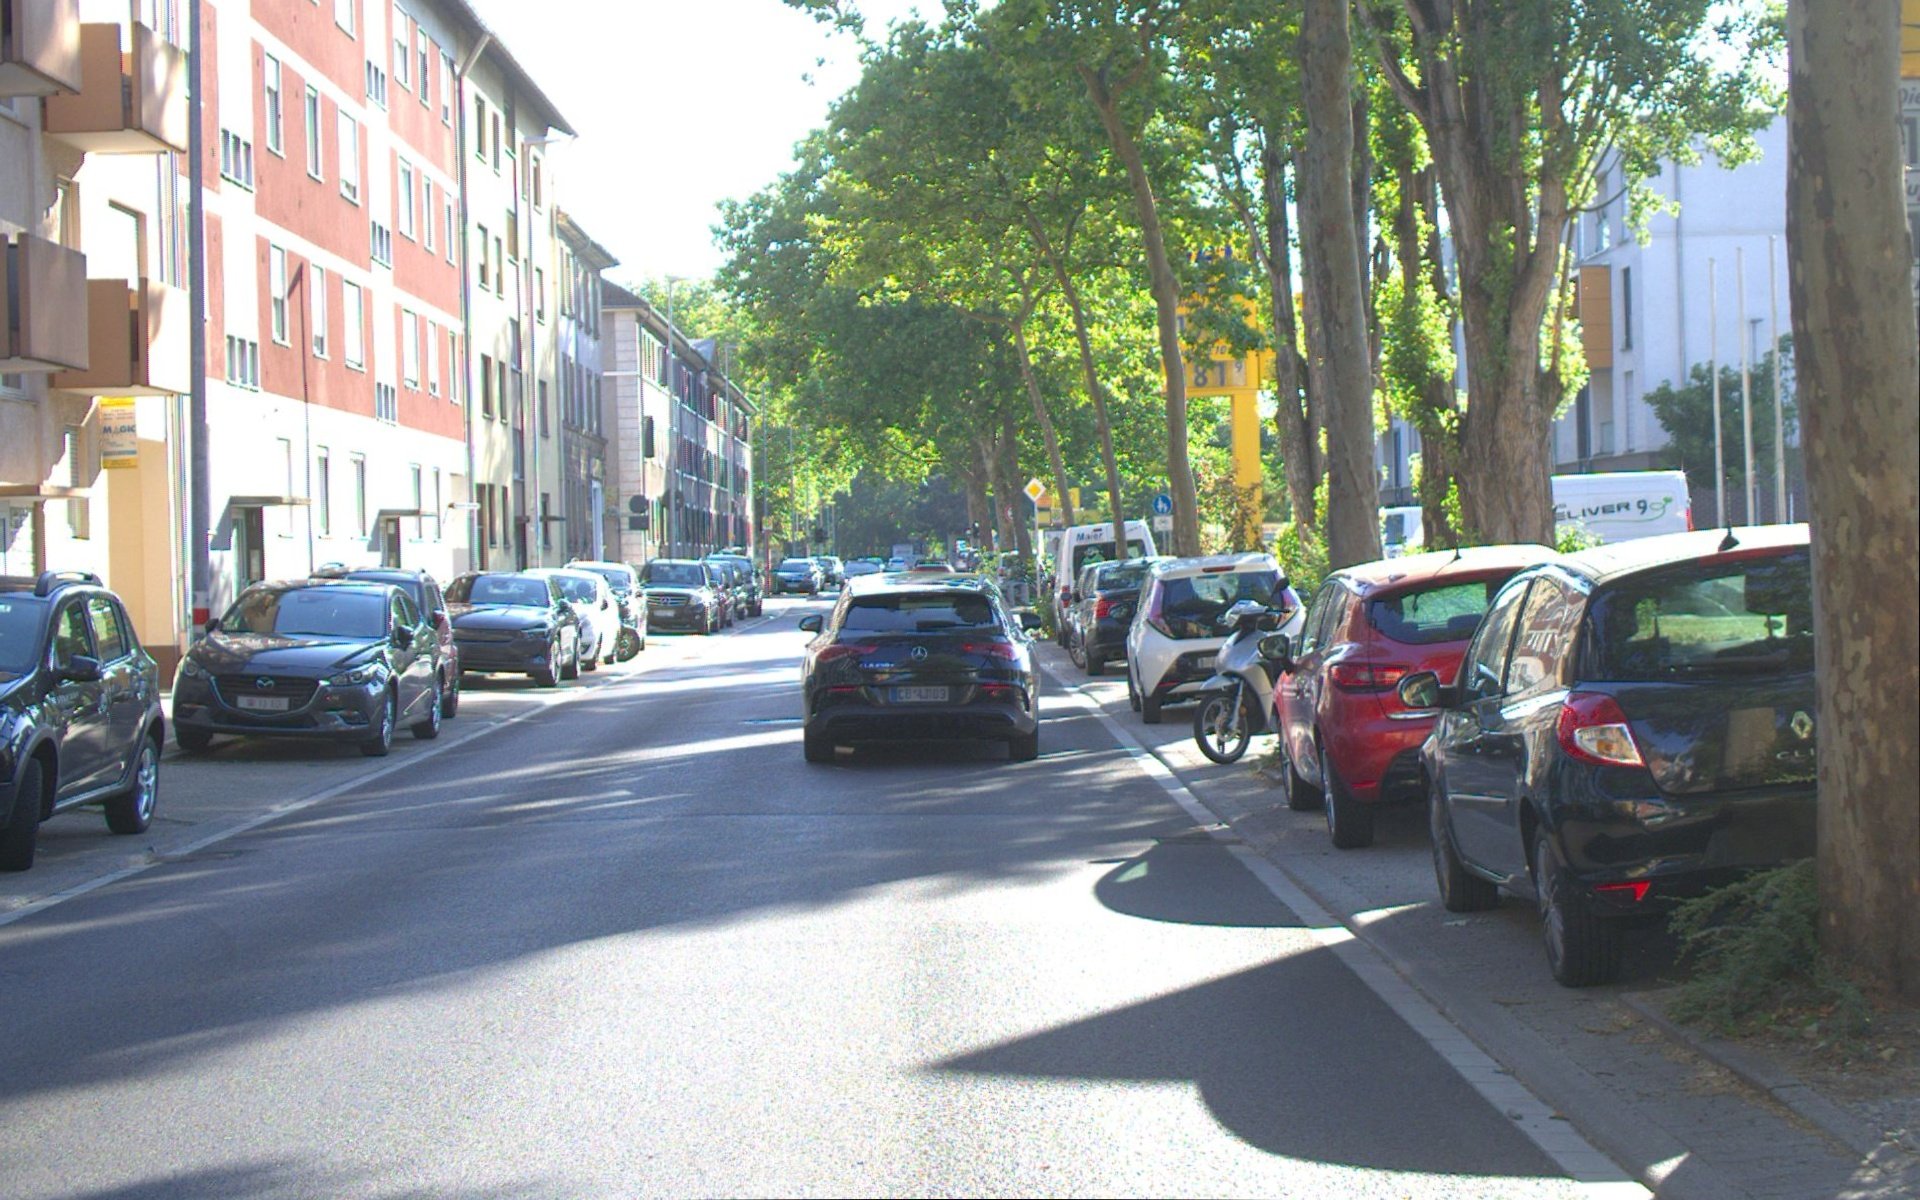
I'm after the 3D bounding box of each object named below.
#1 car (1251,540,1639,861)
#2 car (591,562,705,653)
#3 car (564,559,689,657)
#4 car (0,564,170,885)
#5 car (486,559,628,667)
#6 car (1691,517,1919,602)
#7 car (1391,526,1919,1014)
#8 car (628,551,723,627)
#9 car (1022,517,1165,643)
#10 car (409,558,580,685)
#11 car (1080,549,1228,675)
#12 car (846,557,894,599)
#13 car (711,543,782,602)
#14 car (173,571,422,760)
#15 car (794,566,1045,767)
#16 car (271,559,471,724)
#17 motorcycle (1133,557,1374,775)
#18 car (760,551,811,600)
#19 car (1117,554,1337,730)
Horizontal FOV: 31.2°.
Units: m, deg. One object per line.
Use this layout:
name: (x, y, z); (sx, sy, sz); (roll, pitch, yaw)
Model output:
car: (2.562, 0.490, 18.890); (1.559, 1.590, 3.601); (0, 0, -1)
car: (-5.739, 0.109, 63.600); (1.712, 1.557, 3.801); (2, 1, 0)
car: (-5.669, 0.110, 58.766); (1.712, 1.557, 3.801); (2, 1, 0)
car: (-5.718, 0.623, 19.630); (1.596, 1.624, 3.838); (0, 1, -1)
car: (-6.291, 0.170, 53.992); (1.712, 1.557, 3.801); (2, 1, 0)
car: (16.033, -0.754, 65.012); (3.986, 1.524, 1.807); (-1, -1, -1)
car: (2.671, 0.544, 13.038); (1.559, 1.590, 3.601); (0, 0, -1)
car: (-6.221, -0.261, 75.575); (1.712, 1.557, 3.801); (2, 1, 0)
car: (2.185, -0.308, 57.408); (1.993, 2.007, 4.000); (-1, 0, -3)
car: (-6.172, 0.251, 45.959); (1.712, 1.557, 3.801); (2, 1, 0)
car: (2.460, 0.130, 44.294); (1.633, 1.552, 3.601); (0, 0, -1)
car: (-3.674, -0.878, 141.282); (1.901, 1.655, 4.000); (-1, 0, -1)
car: (-6.000, -0.790, 96.829); (1.712, 1.557, 3.801); (2, 1, 0)
car: (-5.753, 0.525, 30.203); (1.712, 1.459, 3.798); (2, 1, -5)
car: (-0.251, 0.470, 27.229); (1.744, 1.438, 3.969); (0, 1, 3)
car: (-6.153, 0.394, 36.243); (1.712, 1.557, 3.798); (2, 1, -5)
motorcycle: (2.132, 0.467, 25.009); (1.641, 1.552, 0.612); (0, 0, -21)
car: (-7.165, -0.996, 141.371); (1.907, 1.941, 4.000); (-1, 0, -1)
car: (2.445, 0.362, 32.236); (1.722, 1.552, 3.601); (0, 0, -1)
